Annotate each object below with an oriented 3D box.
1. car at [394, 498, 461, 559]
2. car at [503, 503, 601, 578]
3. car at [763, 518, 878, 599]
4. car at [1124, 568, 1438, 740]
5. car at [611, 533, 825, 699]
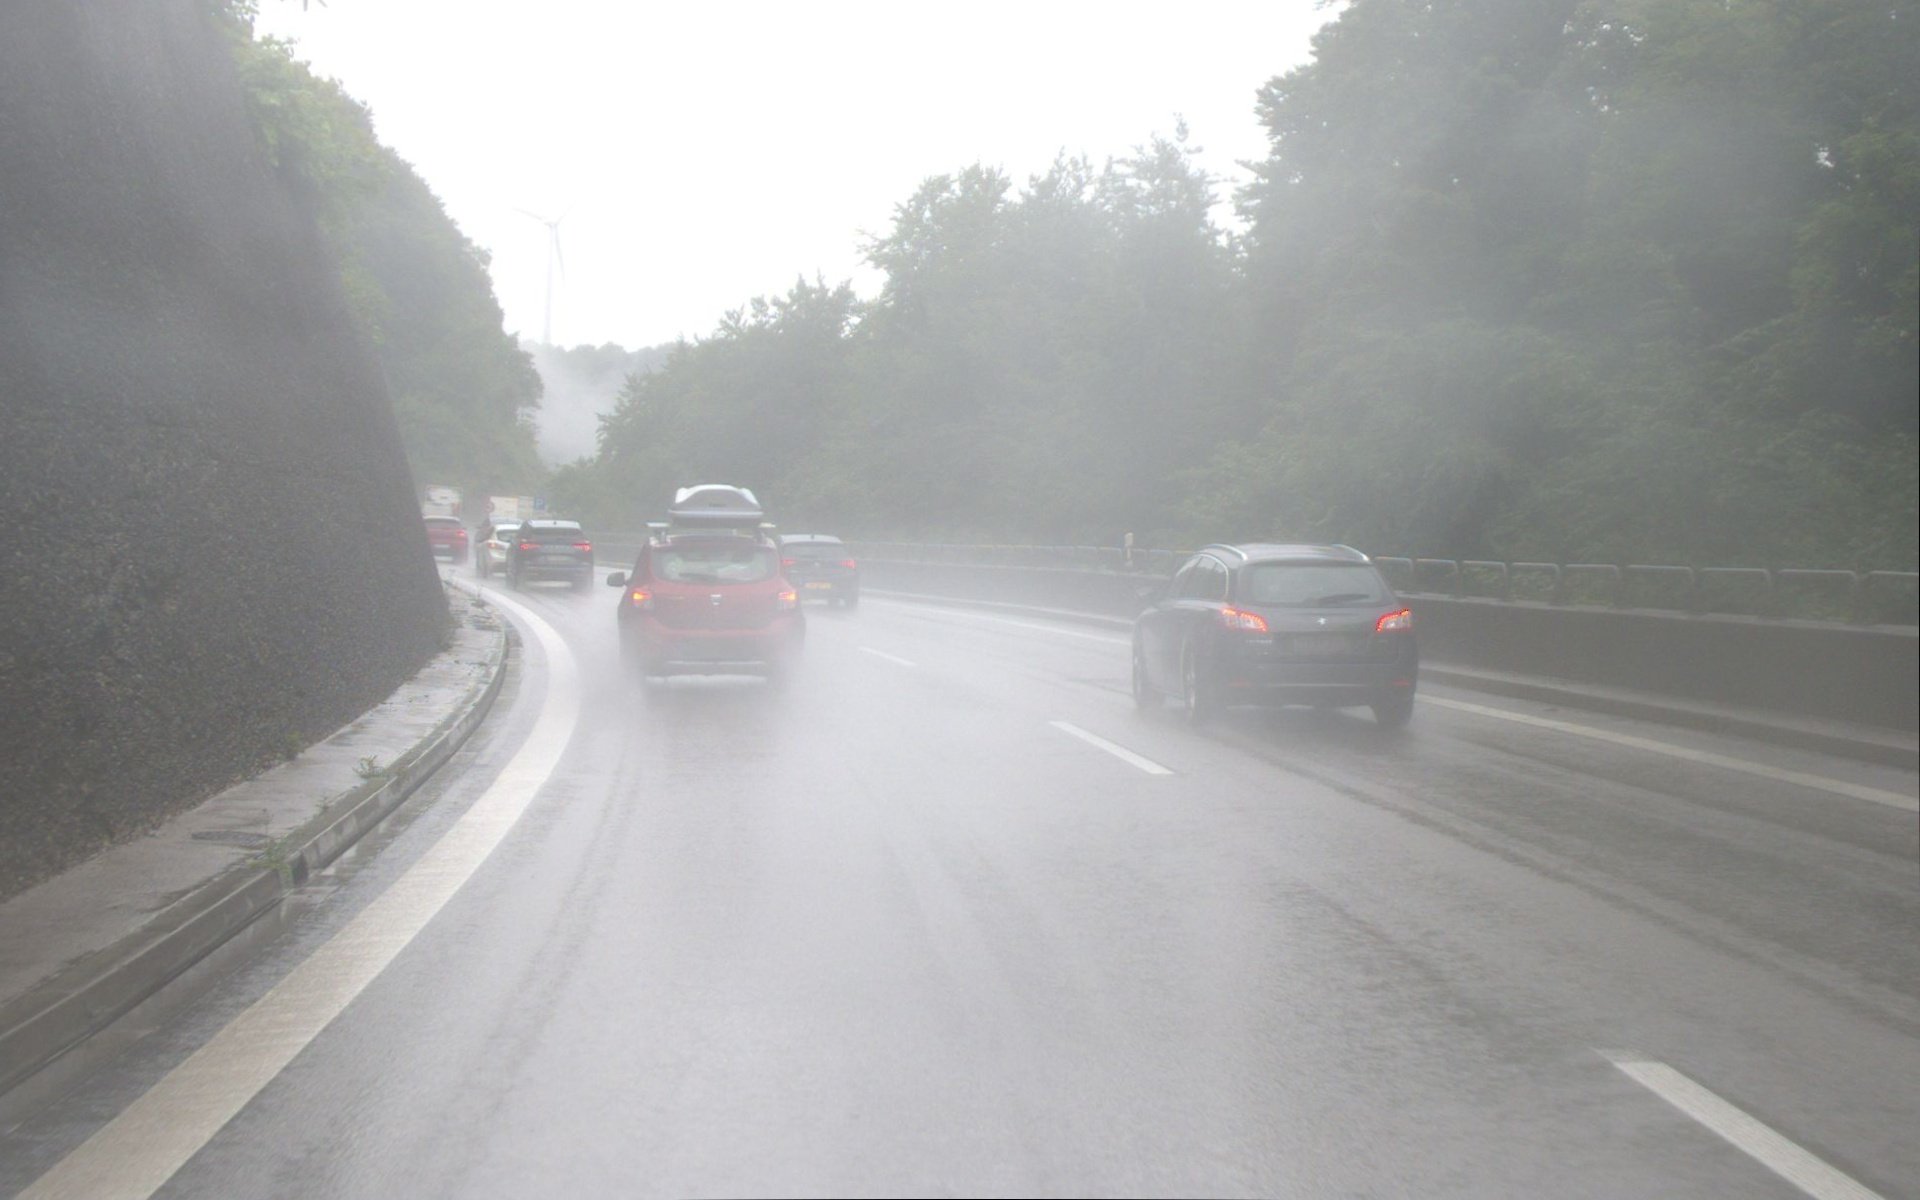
[{"bbox_3d":[-18.491,-2.471,119.276,1.993,2.007,4.001,1,0,-13],"label":"car"},{"bbox_3d":[-9.641,-1.372,81.049,1.993,1.678,4.001,1,0,-11],"label":"car"},{"bbox_3d":[-2.826,-0.852,68.842,1.993,1.546,4.001,1,1,-6],"label":"car"},{"bbox_3d":[2.558,0.398,28.321,1.800,1.303,4.001,1,0,-6],"label":"car"},{"bbox_3d":[-2.429,0.134,34.226,1.993,1.547,4.001,0,1,-5],"label":"car"}]
